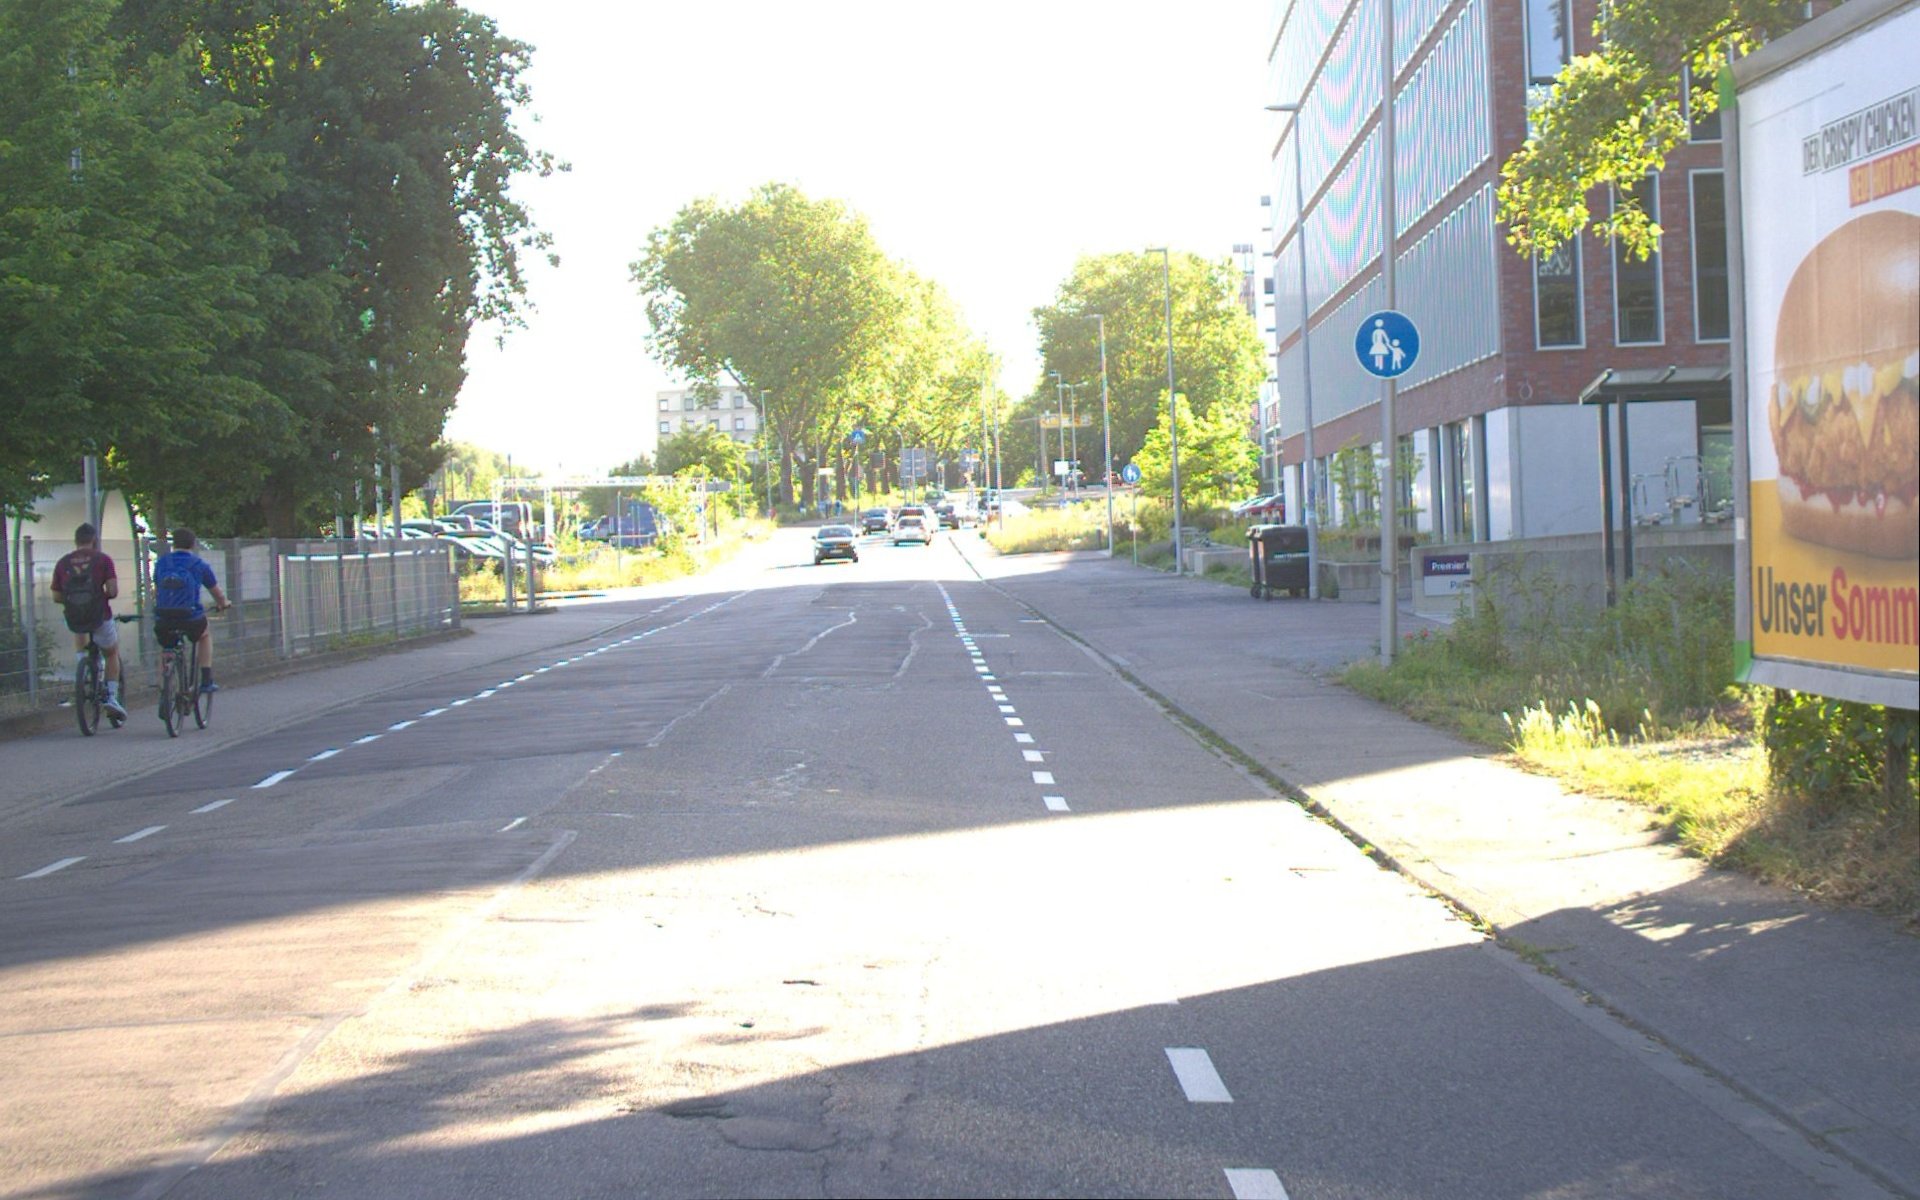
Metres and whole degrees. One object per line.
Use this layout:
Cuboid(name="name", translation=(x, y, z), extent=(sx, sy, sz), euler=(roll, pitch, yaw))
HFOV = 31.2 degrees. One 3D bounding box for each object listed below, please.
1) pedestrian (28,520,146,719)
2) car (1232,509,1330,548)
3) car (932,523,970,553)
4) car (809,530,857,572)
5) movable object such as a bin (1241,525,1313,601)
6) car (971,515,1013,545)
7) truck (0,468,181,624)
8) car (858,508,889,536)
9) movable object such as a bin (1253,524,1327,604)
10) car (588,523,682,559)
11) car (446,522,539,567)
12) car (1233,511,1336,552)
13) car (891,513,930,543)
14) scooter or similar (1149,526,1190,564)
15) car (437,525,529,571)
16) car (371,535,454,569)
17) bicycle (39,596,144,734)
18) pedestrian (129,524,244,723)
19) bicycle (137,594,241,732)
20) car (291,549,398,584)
Cuboid(name="pedestrian", translation=(-7.752, 0.159, 30.555), extent=(0.721, 1.715, 1.057), euler=(-2, 1, -1))
Cuboid(name="car", translation=(14.146, -3.167, 151.817), extent=(4.184, 1.575, 1.851), euler=(-2, 1, 3))
Cuboid(name="car", translation=(-0.497, -3.657, 202.187), extent=(2.163, 1.678, 4.000), euler=(-2, 1, 0))
Cuboid(name="car", translation=(-5.042, -1.967, 137.104), extent=(1.740, 1.520, 4.112), euler=(-6, 1, -1))
Cuboid(name="movable object such as a bin", translation=(5.846, -0.687, 63.465), extent=(1.128, 1.331, 1.345), euler=(-2, 1, -1))
Cuboid(name="car", translation=(1.917, -4.217, 207.580), extent=(2.163, 1.678, 4.001), euler=(-2, 1, -4))
Cuboid(name="truck", translation=(-24.094, -1.209, 82.539), extent=(10.097, 3.602, 2.776), euler=(-1, 0, -1))
Cuboid(name="car", translation=(-4.992, -4.513, 198.576), extent=(1.654, 1.498, 4.000), euler=(-3, 1, 0))
Cuboid(name="movable object such as a bin", translation=(5.931, -0.655, 61.844), extent=(1.128, 1.367, 1.345), euler=(-2, 1, -1))
Cuboid(name="car", translation=(-17.449, -3.175, 184.838), extent=(4.845, 1.828, 2.000), euler=(-1, 2, -1))
Cuboid(name="car", translation=(-27.300, -3.254, 200.861), extent=(5.096, 2.451, 2.320), euler=(-1, 2, -1))
Cuboid(name="car", translation=(13.689, -2.882, 145.116), extent=(4.184, 1.575, 1.851), euler=(-2, 1, 3))
Cuboid(name="car", translation=(-2.403, -3.535, 169.116), extent=(1.790, 1.415, 4.000), euler=(-1, 2, 1))
Cuboid(name="scooter or similar", translation=(7.048, -1.844, 115.860), extent=(1.340, 1.241, 0.423), euler=(-2, 1, 4))
Cuboid(name="car", translation=(-27.484, -3.020, 198.190), extent=(4.926, 2.451, 2.320), euler=(-2, 1, -1))
Cuboid(name="car", translation=(-27.436, -2.404, 172.353), extent=(3.882, 1.598, 1.878), euler=(-1, 2, -1))
Cuboid(name="bicycle", translation=(-7.691, 0.559, 30.499), extent=(0.470, 1.144, 1.869), euler=(-1, 1, -1))
Cuboid(name="pedestrian", translation=(-6.856, 0.196, 30.510), extent=(0.721, 1.715, 1.057), euler=(-2, 1, -1))
Cuboid(name="bicycle", translation=(-6.854, 0.536, 30.639), extent=(0.446, 1.144, 2.201), euler=(-1, 1, -1))
Cuboid(name="car", translation=(-26.995, -1.476, 150.860), extent=(4.321, 1.388, 1.878), euler=(-1, 2, 0))
